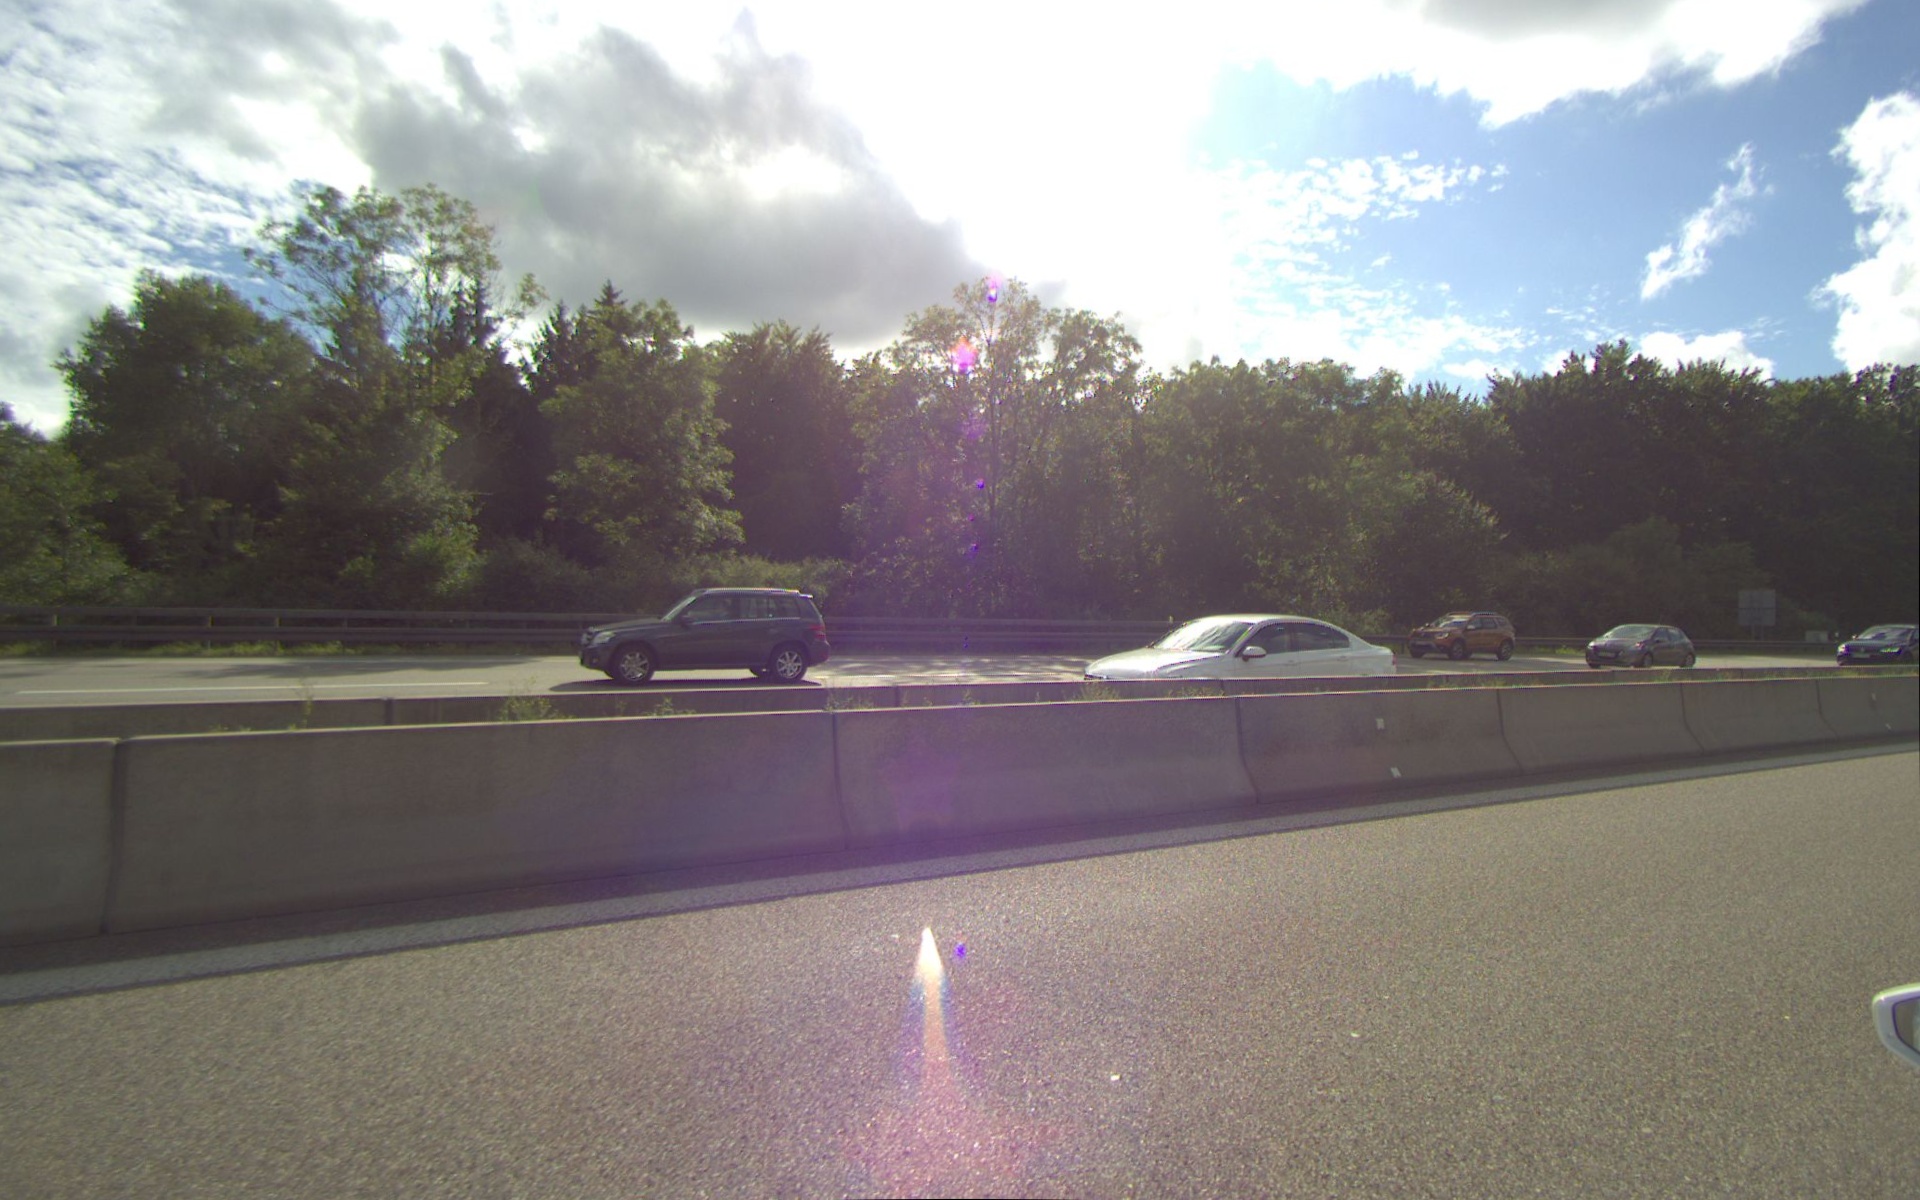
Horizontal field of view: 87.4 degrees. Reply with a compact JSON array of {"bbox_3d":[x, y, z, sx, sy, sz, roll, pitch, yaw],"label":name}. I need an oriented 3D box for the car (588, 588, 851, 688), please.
[{"bbox_3d":[-4.374,0.673,18.428,4.422,1.661,1.660,1,0,-28],"label":"car"}]

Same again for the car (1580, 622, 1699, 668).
[{"bbox_3d":[21.717,1.420,32.095,3.954,1.372,1.628,1,0,-31],"label":"car"}]

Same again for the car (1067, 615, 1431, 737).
[{"bbox_3d":[3.866,0.908,13.147,4.823,1.327,1.715,1,0,-30],"label":"car"}]

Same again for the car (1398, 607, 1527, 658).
[{"bbox_3d":[18.083,1.163,36.161,4.365,1.739,1.922,1,0,-26],"label":"car"}]

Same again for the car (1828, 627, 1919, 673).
[{"bbox_3d":[33.185,1.758,35.789,4.568,1.499,1.716,1,0,-25],"label":"car"}]
